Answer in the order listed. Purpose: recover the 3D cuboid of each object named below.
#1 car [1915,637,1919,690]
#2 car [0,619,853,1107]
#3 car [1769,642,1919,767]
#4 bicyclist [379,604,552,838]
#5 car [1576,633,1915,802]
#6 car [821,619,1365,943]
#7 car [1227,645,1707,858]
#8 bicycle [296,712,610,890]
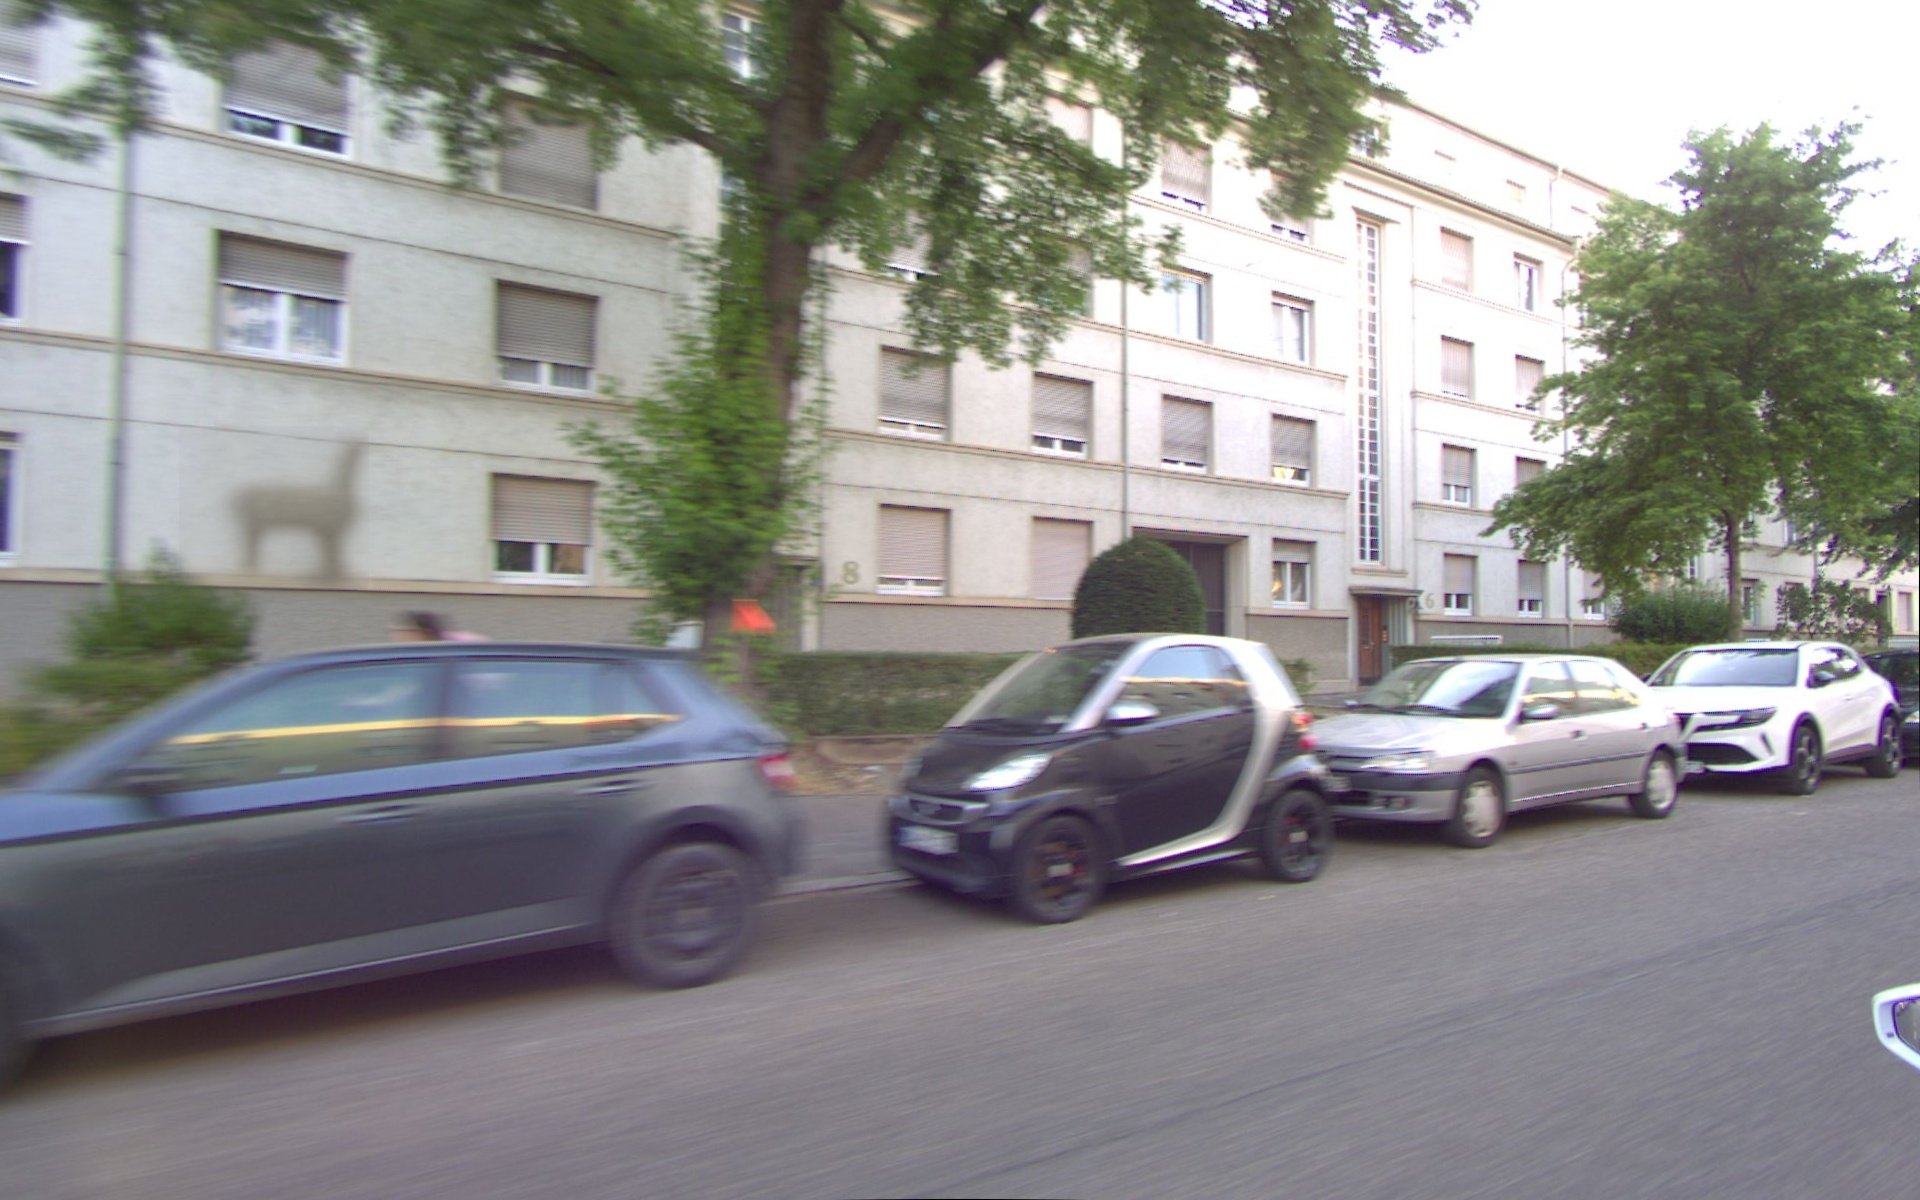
[{"bbox_3d":[16.596,1.347,15.385,4.068,1.621,1.700,2,-6,-30],"label":"car"},{"bbox_3d":[-2.626,0.896,4.232,4.056,1.485,1.582,2,-6,-32],"label":"car"},{"bbox_3d":[12.667,1.337,13.315,3.797,1.470,1.700,2,-6,-30],"label":"car"},{"bbox_3d":[-3.303,0.756,6.703,0.962,1.422,0.804,1,-2,-30],"label":"bicyclist"},{"bbox_3d":[8.763,1.220,11.125,4.161,1.558,1.582,2,-6,-33],"label":"car"},{"bbox_3d":[0.870,0.979,6.331,3.129,1.548,1.516,2,-6,-32],"label":"car"},{"bbox_3d":[4.356,1.142,8.489,4.132,1.421,1.583,2,-6,-30],"label":"car"},{"bbox_3d":[-3.304,1.257,6.641,1.741,0.923,0.804,2,-2,-30],"label":"bicycle"}]
